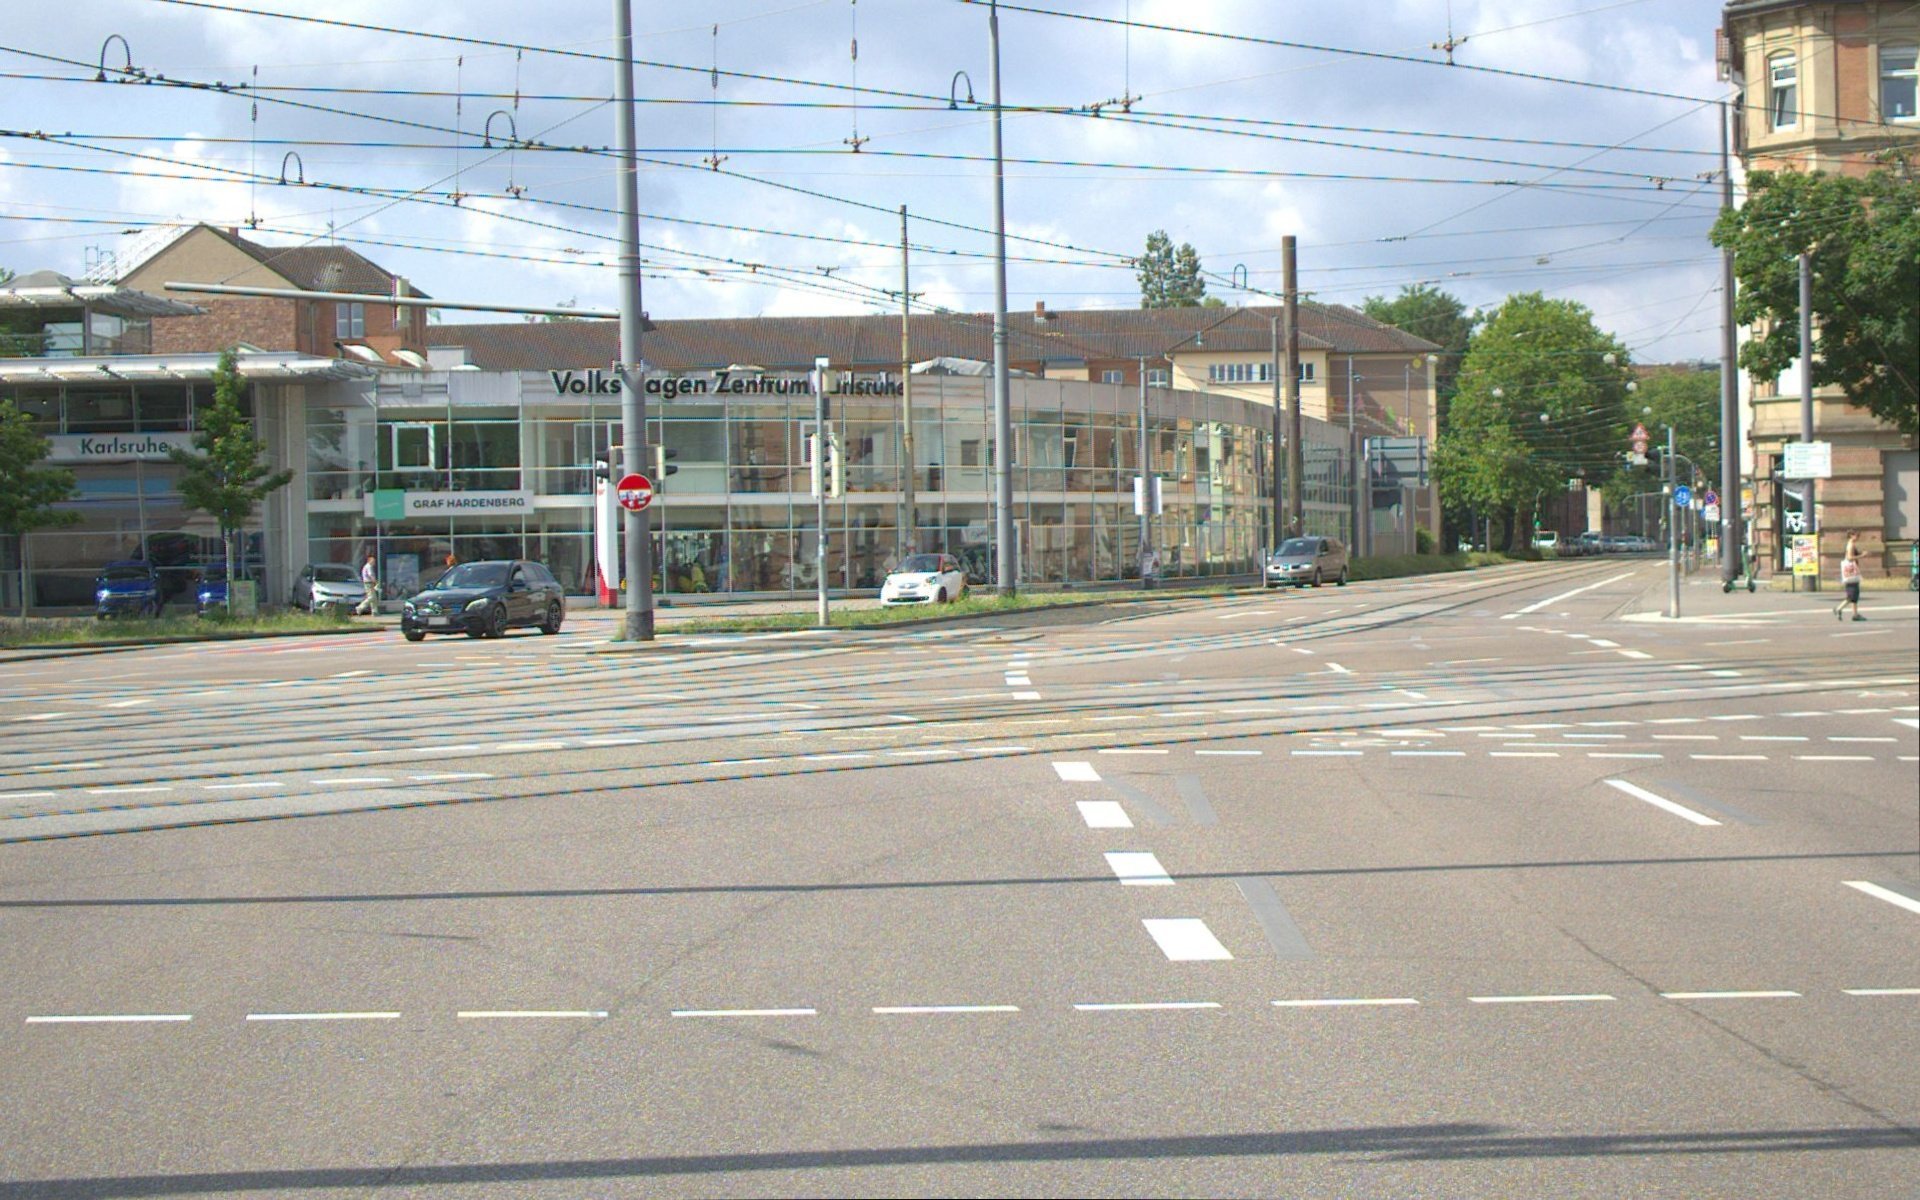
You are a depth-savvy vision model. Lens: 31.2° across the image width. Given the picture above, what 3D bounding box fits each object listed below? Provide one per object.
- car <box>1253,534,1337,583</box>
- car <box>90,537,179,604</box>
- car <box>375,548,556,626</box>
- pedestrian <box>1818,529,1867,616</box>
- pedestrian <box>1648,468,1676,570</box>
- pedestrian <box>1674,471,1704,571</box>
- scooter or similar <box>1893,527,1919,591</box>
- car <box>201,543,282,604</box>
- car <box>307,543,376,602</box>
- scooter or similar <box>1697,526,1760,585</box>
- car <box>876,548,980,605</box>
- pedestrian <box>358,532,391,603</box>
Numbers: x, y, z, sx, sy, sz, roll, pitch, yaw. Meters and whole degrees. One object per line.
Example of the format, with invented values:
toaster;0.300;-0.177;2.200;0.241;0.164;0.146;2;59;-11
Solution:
car;11.187;-1.406;114.708;1.995;1.568;3.733;-1;1;19
car;-23.989;-0.846;100.038;1.993;1.831;4.001;-2;0;-7
car;-9.220;-0.257;64.379;1.866;1.371;3.937;-1;1;17
pedestrian;15.472;-0.483;60.269;0.741;1.511;0.544;-1;1;21
pedestrian;21.707;-2.506;106.272;0.666;3.110;0.887;1;0;22
pedestrian;22.474;-2.440;105.962;0.725;3.065;0.887;1;0;22
scooter or similar;22.329;-0.960;80.394;0.878;1.477;2.013;-1;1;13
car;-20.792;-0.759;99.615;1.993;1.720;4.001;1;0;-8
car;-18.291;-0.810;101.544;1.928;1.678;4.001;1;0;-11
scooter or similar;18.375;-1.055;82.282;1.177;1.381;2.803;1;0;7
car;-0.833;-0.617;92.429;1.687;1.465;3.653;1;0;18
pedestrian;-16.766;-0.925;98.422;0.869;2.007;0.704;-1;1;-10
